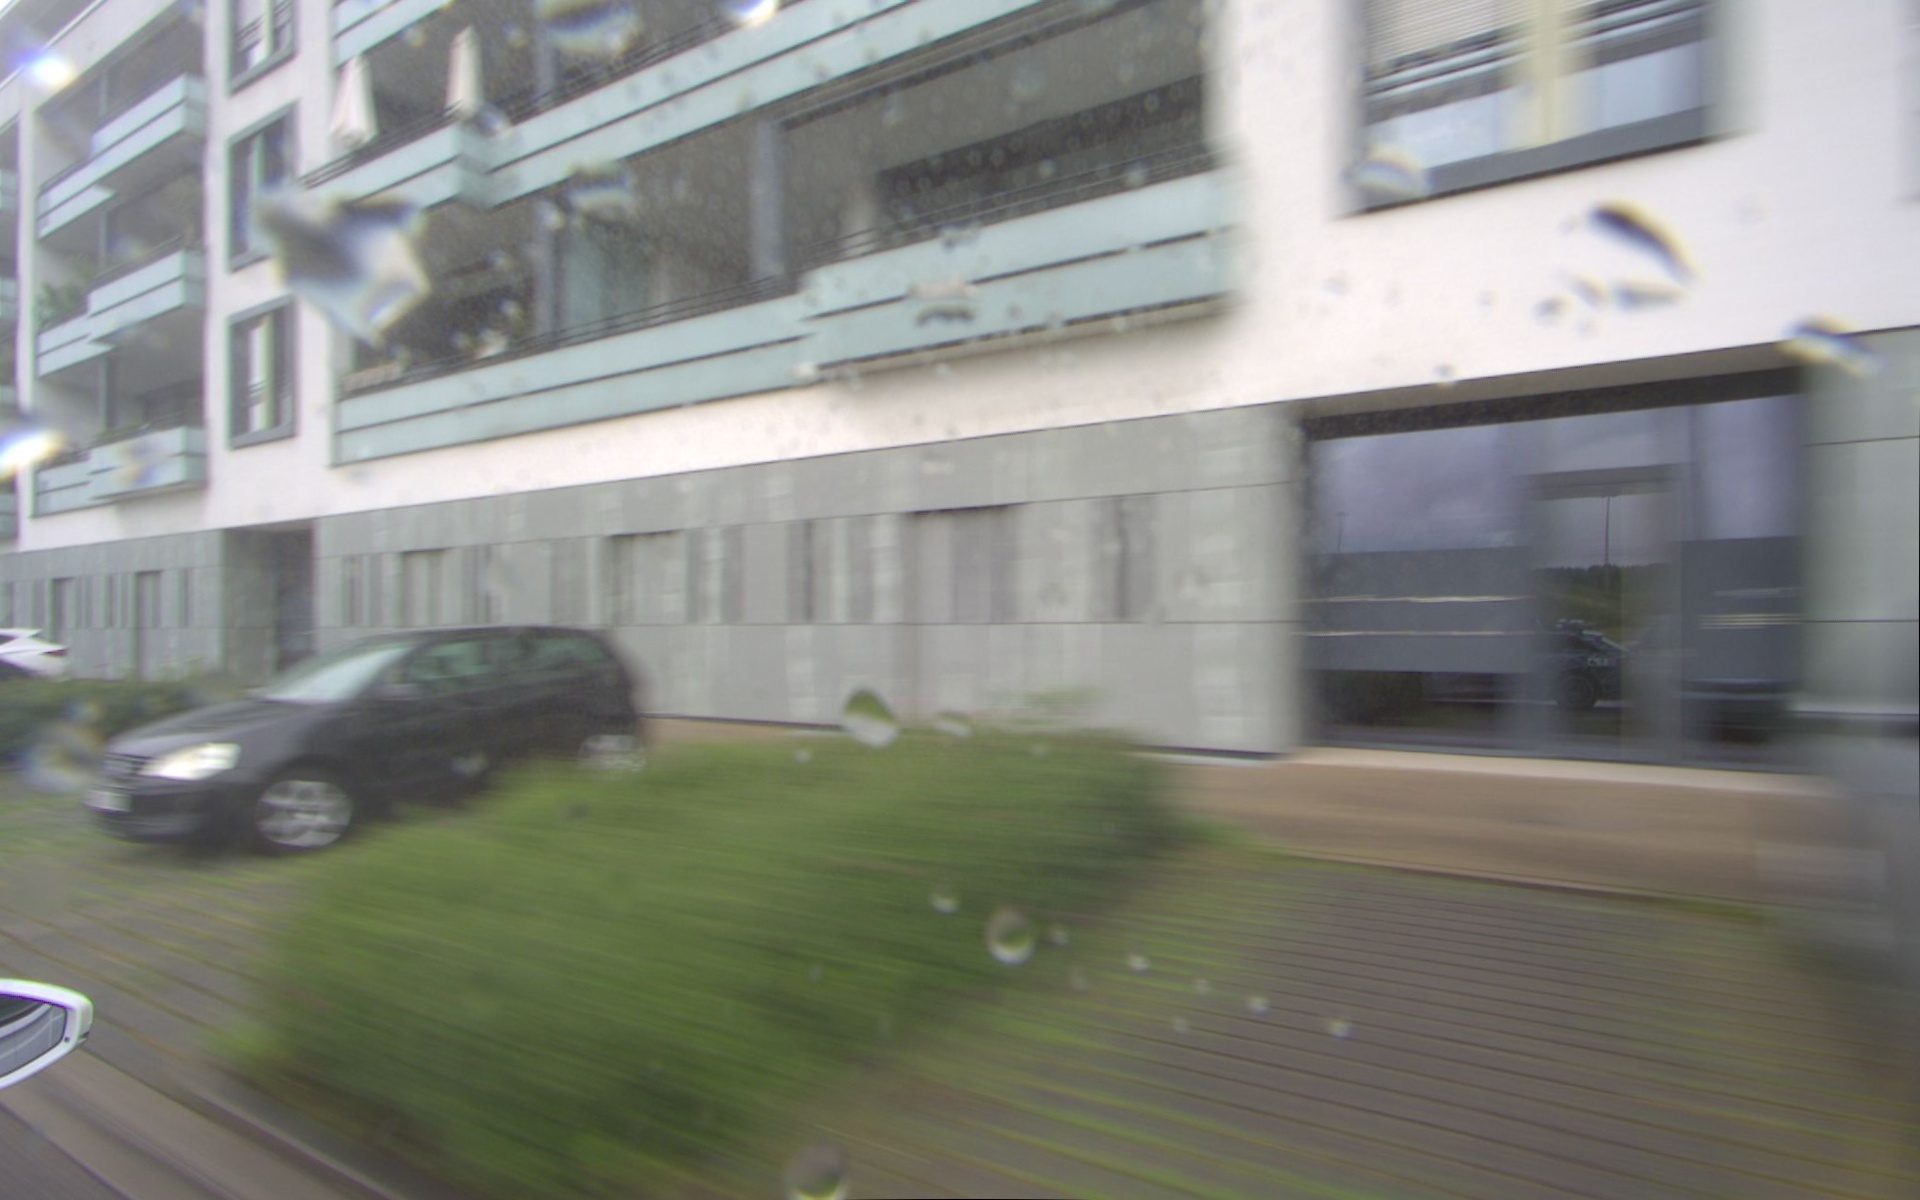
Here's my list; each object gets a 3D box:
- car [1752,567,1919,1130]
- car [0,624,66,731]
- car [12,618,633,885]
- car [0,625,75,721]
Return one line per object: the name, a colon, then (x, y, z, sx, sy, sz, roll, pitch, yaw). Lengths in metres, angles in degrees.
car: (3.536, 0.716, 2.528, 1.661, 1.665, 4.205, -2, -2, 28)
car: (-14.775, 1.154, 14.380, 1.188, 1.527, 2.622, -1, 0, 26)
car: (-4.772, 0.944, 8.053, 1.737, 1.510, 3.837, -1, 0, 33)
car: (-17.196, 1.246, 15.896, 1.866, 1.550, 4.337, -1, 0, 31)
